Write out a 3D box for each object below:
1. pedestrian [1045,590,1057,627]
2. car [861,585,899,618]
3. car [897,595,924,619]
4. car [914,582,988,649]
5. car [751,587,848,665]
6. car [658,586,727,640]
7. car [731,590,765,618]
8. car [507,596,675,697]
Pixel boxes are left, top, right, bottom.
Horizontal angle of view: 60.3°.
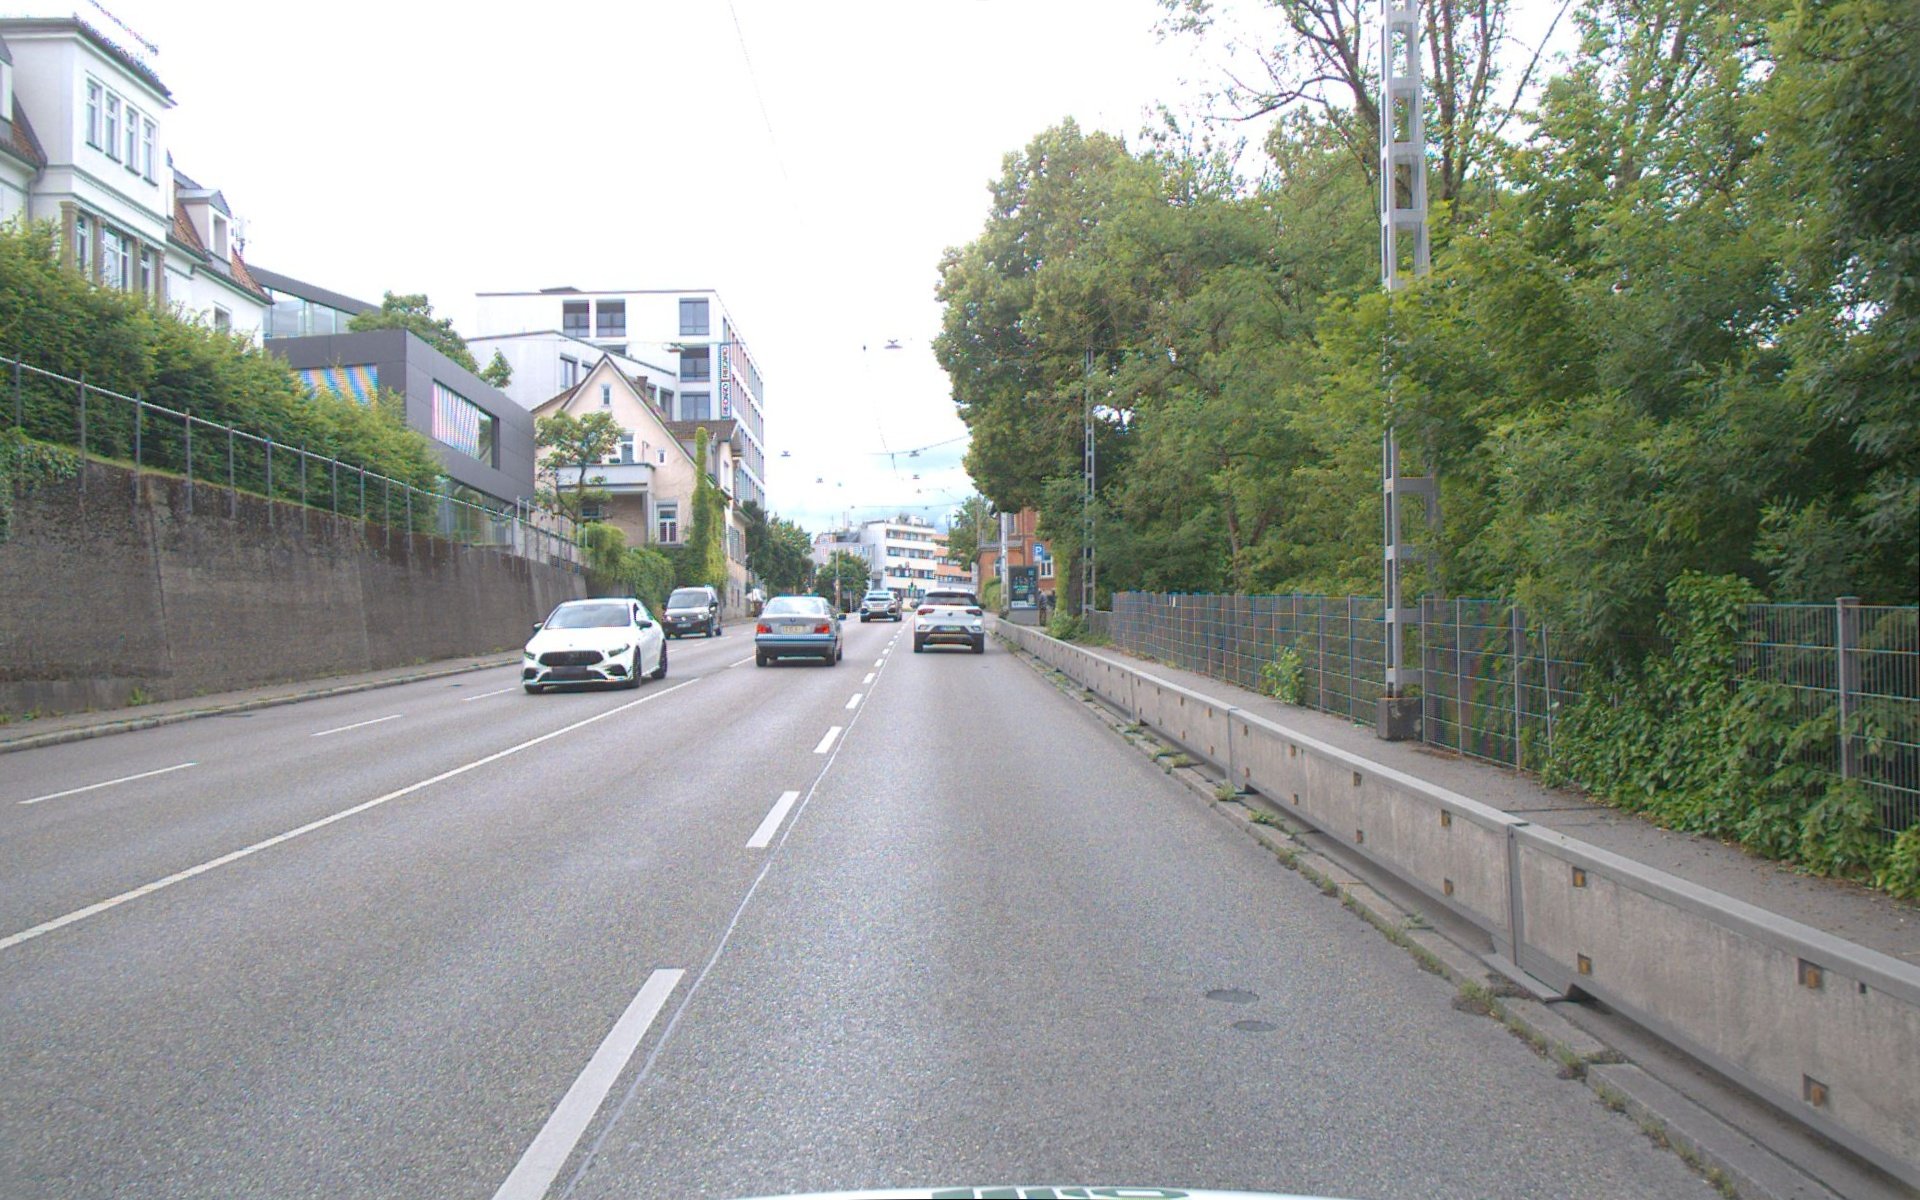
[{"bbox_3d":[4.337,0.402,78.830,0.499,1.747,0.465,-1,0,-3],"label":"pedestrian"},{"bbox_3d":[-3.753,0.044,77.925,1.672,1.489,3.999,-1,0,-1],"label":"car"},{"bbox_3d":[-3.227,0.430,108.867,1.672,1.489,3.999,-1,0,-1],"label":"car"},{"bbox_3d":[-0.270,0.368,41.831,1.744,1.606,3.998,0,0,-2],"label":"car"},{"bbox_3d":[-3.274,0.494,34.300,1.672,1.489,3.999,-1,0,-1],"label":"car"},{"bbox_3d":[-9.587,0.436,59.513,1.780,1.815,4.494,-2,0,-1],"label":"car"},{"bbox_3d":[-13.635,0.235,106.697,1.955,1.731,3.996,-1,0,-5],"label":"car"},{"bbox_3d":[-5.952,0.700,27.207,1.779,1.410,4.461,-3,0,-1],"label":"car"}]
